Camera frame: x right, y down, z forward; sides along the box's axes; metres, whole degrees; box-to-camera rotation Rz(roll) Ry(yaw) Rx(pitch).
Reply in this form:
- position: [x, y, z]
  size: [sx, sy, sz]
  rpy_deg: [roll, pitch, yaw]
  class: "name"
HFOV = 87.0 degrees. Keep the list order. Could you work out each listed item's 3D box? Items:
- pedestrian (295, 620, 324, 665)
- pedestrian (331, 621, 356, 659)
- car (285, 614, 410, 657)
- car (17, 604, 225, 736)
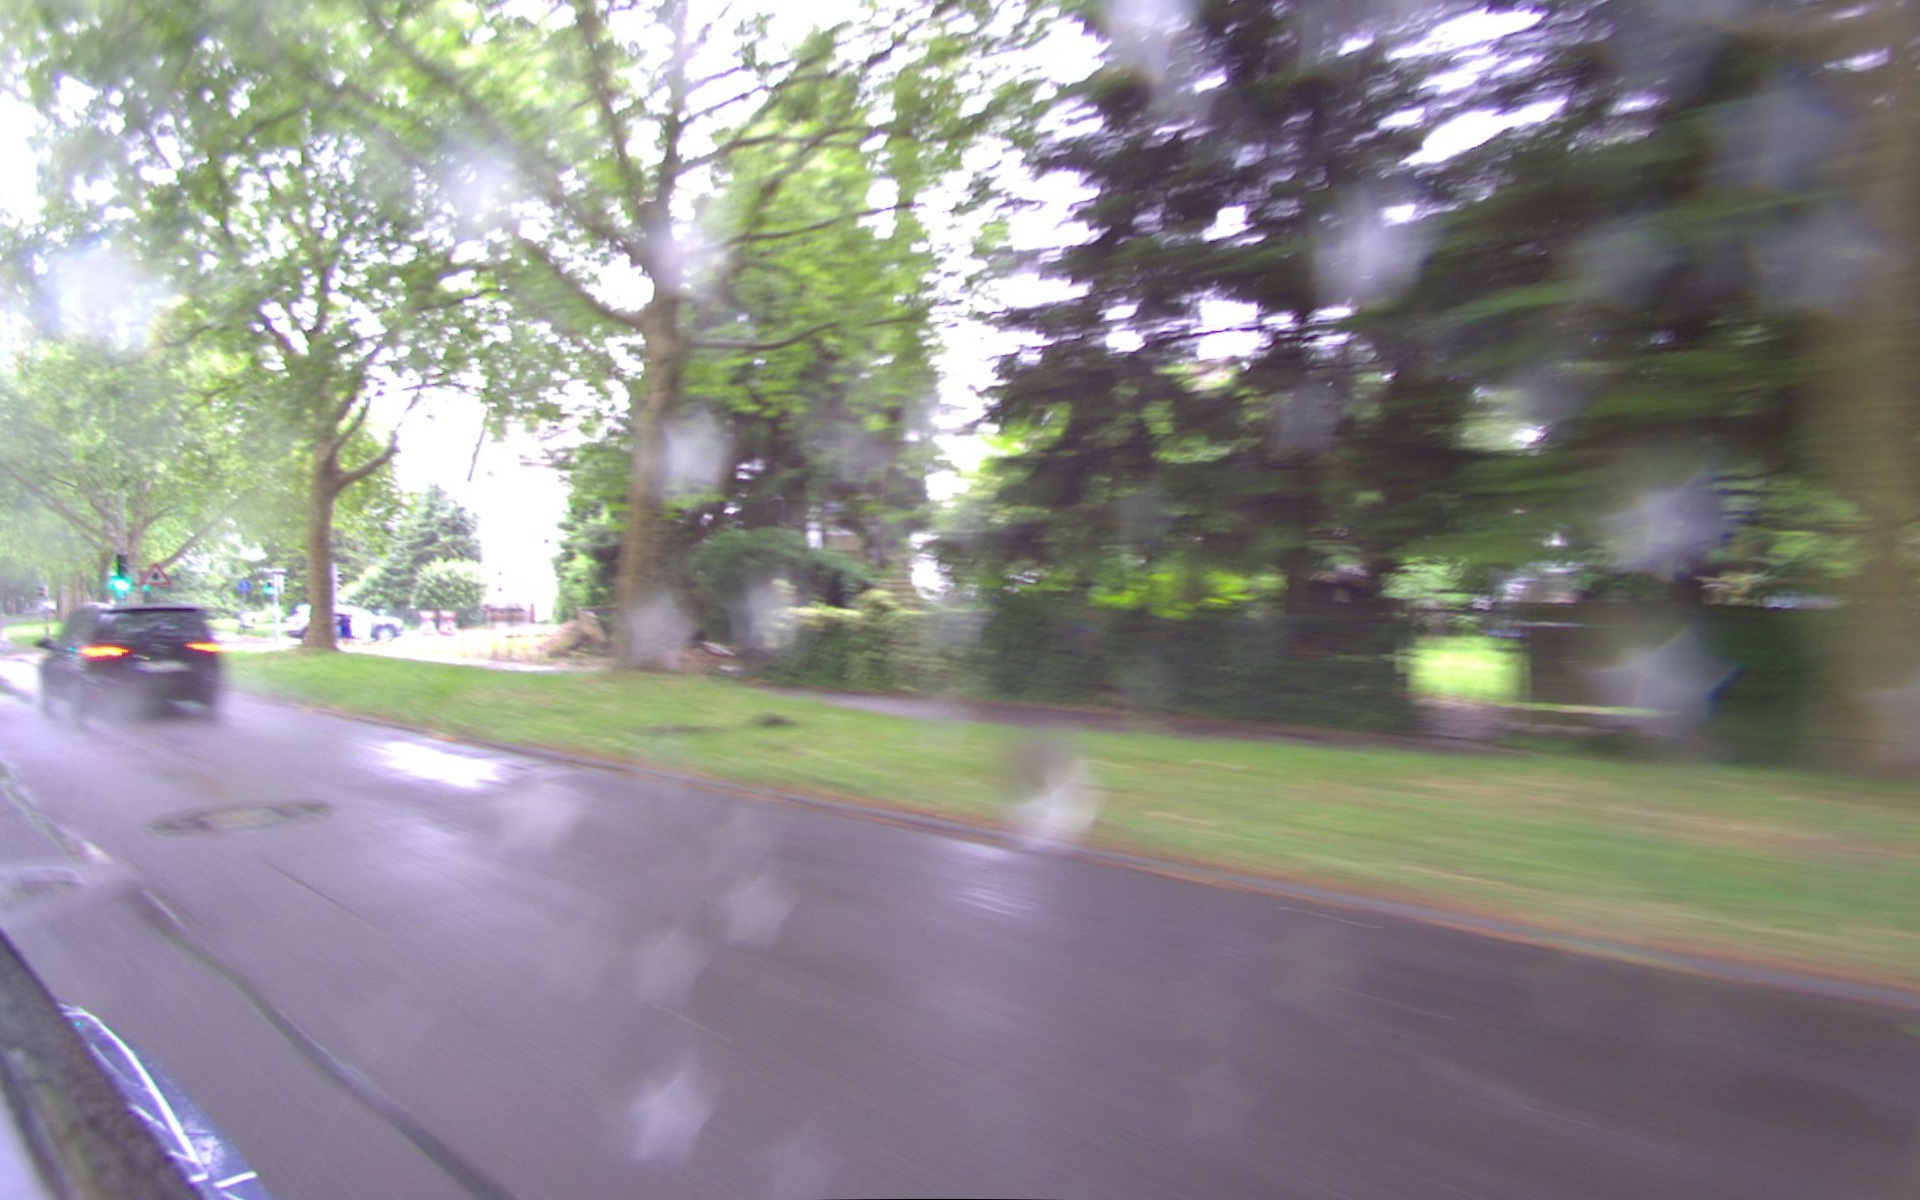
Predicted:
- position: [-22.030, 1.427, 34.271]
  size: [0.856, 1.464, 0.591]
  rpy_deg: [-1, 0, 43]
  class: "pedestrian"
- position: [-21.357, 1.384, 35.049]
  size: [0.849, 1.271, 0.510]
  rpy_deg: [-1, 0, 43]
  class: "pedestrian"
- position: [-27.594, 1.558, 45.644]
  size: [4.645, 1.700, 2.004]
  rpy_deg: [-2, 0, -37]
  class: "car"
- position: [-12.922, 0.956, 15.468]
  size: [4.773, 1.667, 1.798]
  rpy_deg: [-1, 0, 43]
  class: "car"
